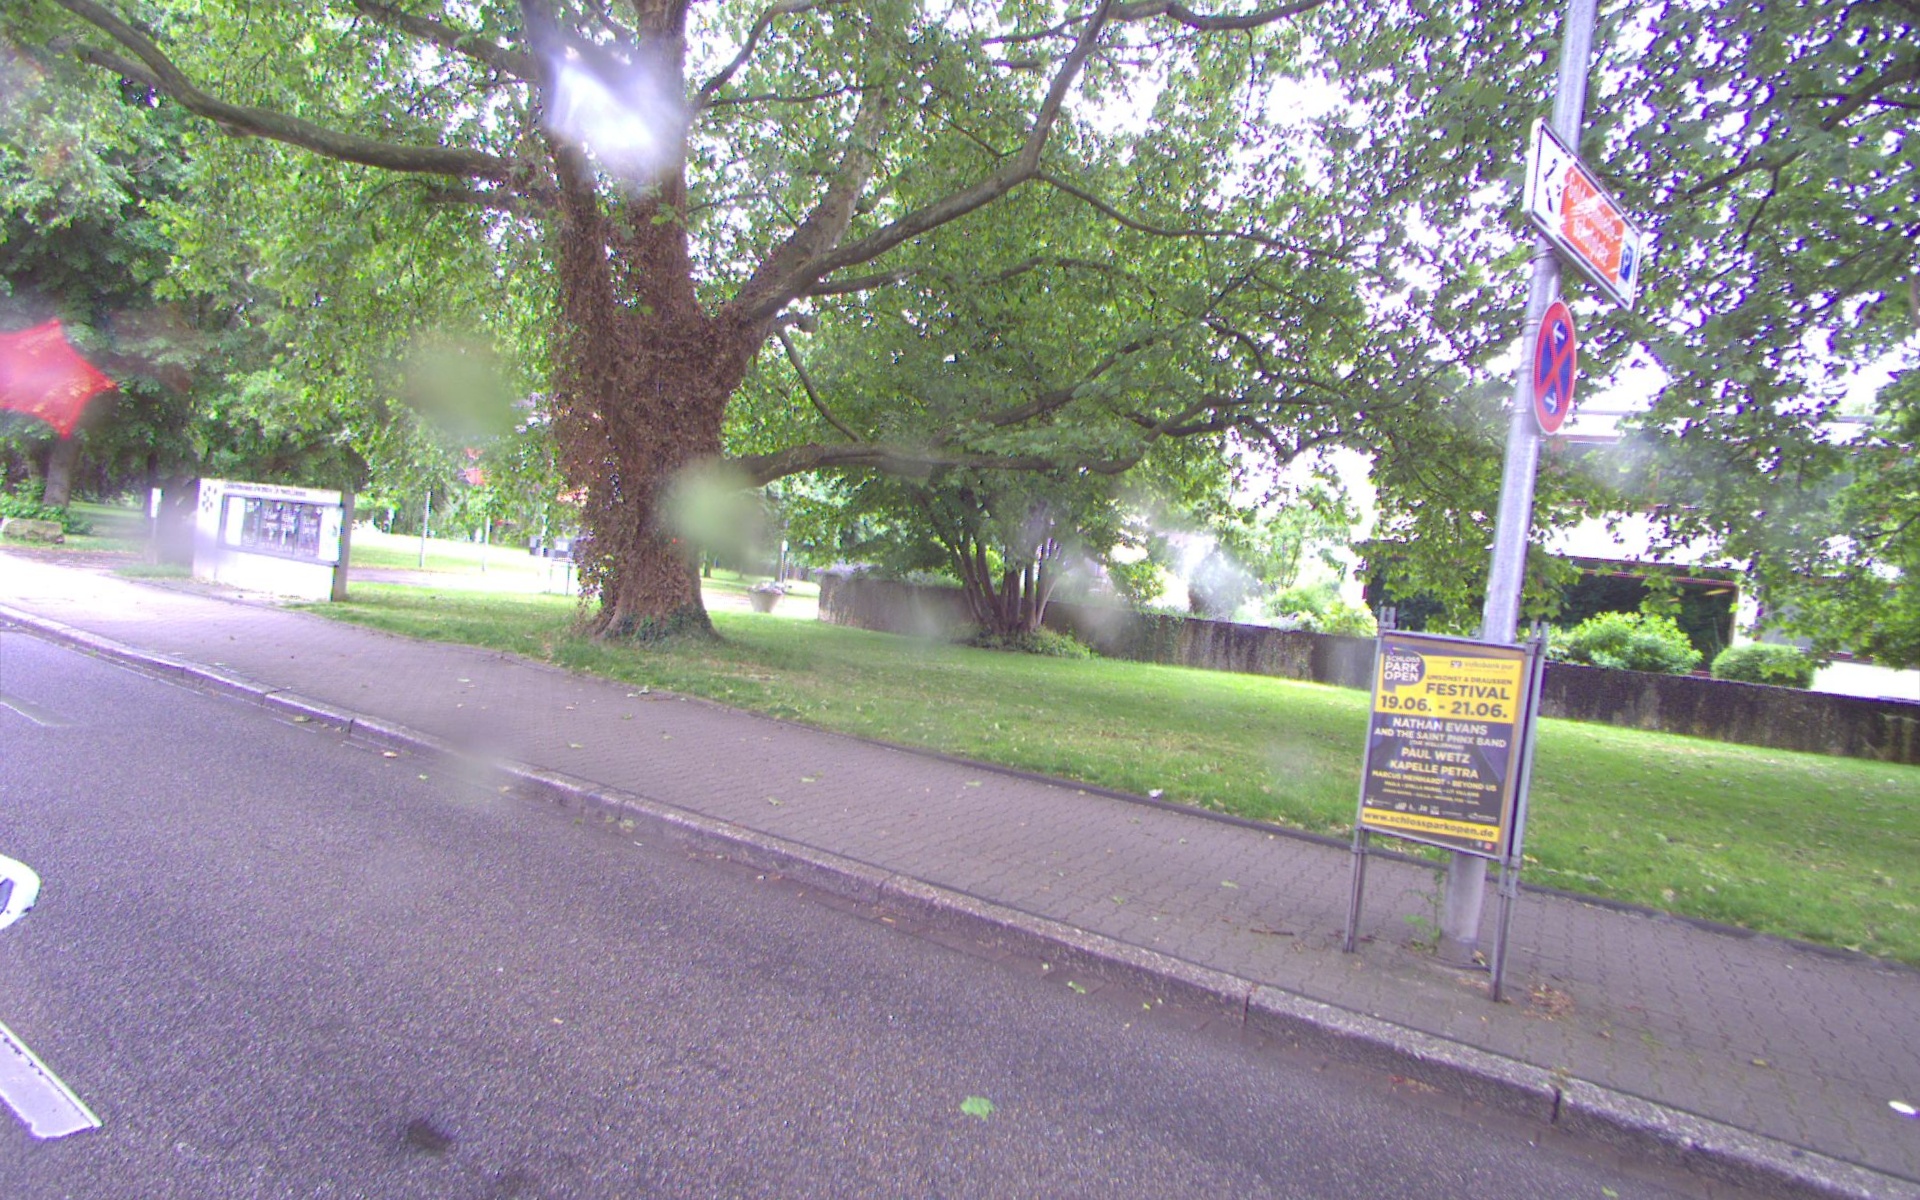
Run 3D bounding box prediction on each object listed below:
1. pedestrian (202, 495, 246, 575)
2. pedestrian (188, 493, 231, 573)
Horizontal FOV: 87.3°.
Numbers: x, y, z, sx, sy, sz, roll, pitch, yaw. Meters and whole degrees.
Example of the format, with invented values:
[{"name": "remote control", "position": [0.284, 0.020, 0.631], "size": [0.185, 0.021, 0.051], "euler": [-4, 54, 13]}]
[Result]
[{"name": "pedestrian", "position": [-16.823, -1.484, 23.004], "size": [0.550, 1.744, 0.504], "euler": [7, 2, 25]}, {"name": "pedestrian", "position": [-17.343, -1.543, 23.254], "size": [0.550, 1.744, 0.485], "euler": [7, 2, 25]}]
